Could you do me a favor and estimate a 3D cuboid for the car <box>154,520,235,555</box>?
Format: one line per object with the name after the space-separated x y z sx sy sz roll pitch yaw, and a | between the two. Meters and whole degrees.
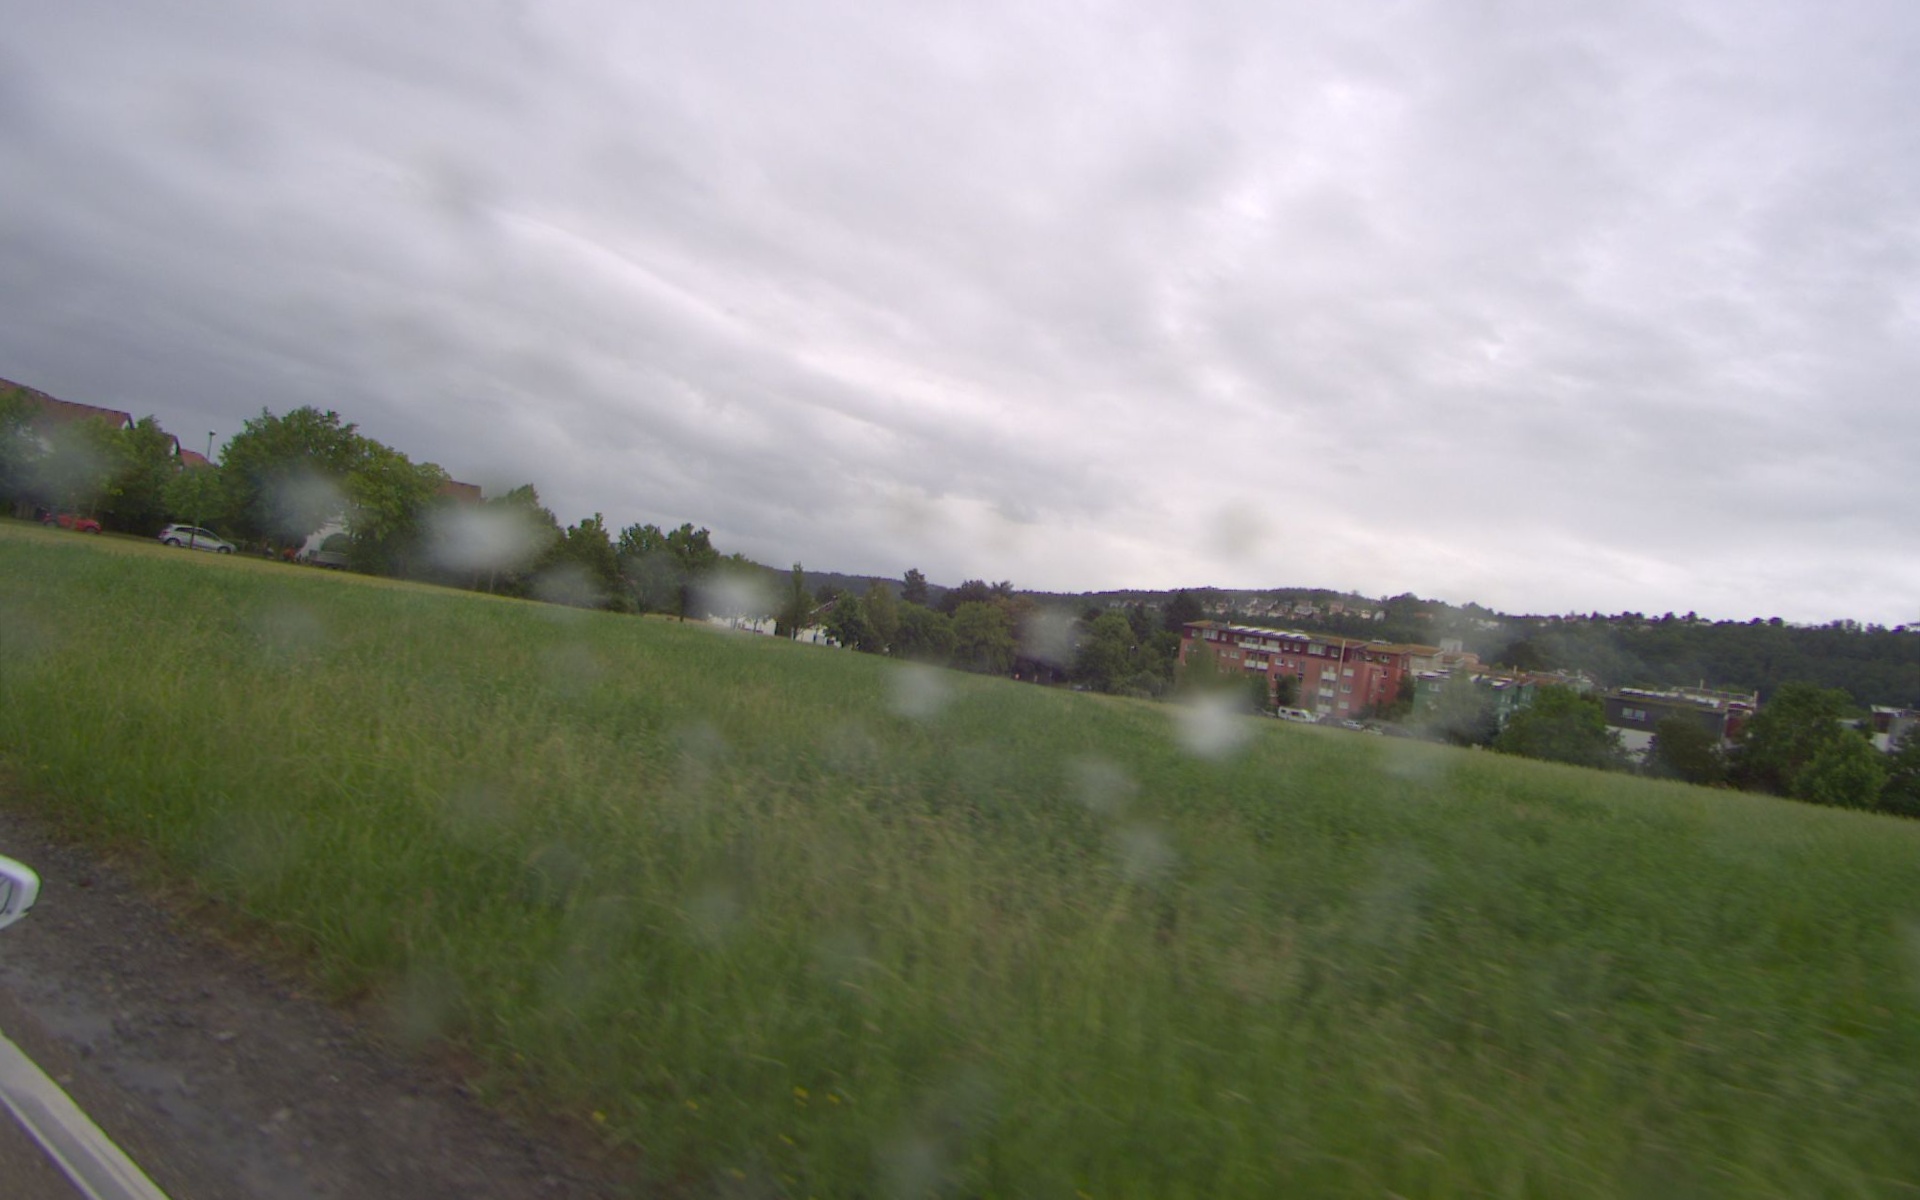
-51.252 -4.184 67.417 1.828 1.569 3.973 6 -4 44 | car

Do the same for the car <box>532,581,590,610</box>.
-34.145 -0.364 86.182 1.935 1.623 3.989 7 -5 42 | car

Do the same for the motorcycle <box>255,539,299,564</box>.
-47.836 -3.363 70.433 0.958 1.316 2.255 7 -3 44 | motorcycle

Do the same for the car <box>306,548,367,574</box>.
-45.415 -2.832 73.298 1.711 1.295 3.314 6 -3 43 | car

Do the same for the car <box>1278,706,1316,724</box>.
53.216 18.120 158.757 1.988 2.037 5.218 8 -3 -43 | car

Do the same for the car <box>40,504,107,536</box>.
-55.542 -4.980 63.075 2.993 1.452 1.536 10 -4 -41 | car
